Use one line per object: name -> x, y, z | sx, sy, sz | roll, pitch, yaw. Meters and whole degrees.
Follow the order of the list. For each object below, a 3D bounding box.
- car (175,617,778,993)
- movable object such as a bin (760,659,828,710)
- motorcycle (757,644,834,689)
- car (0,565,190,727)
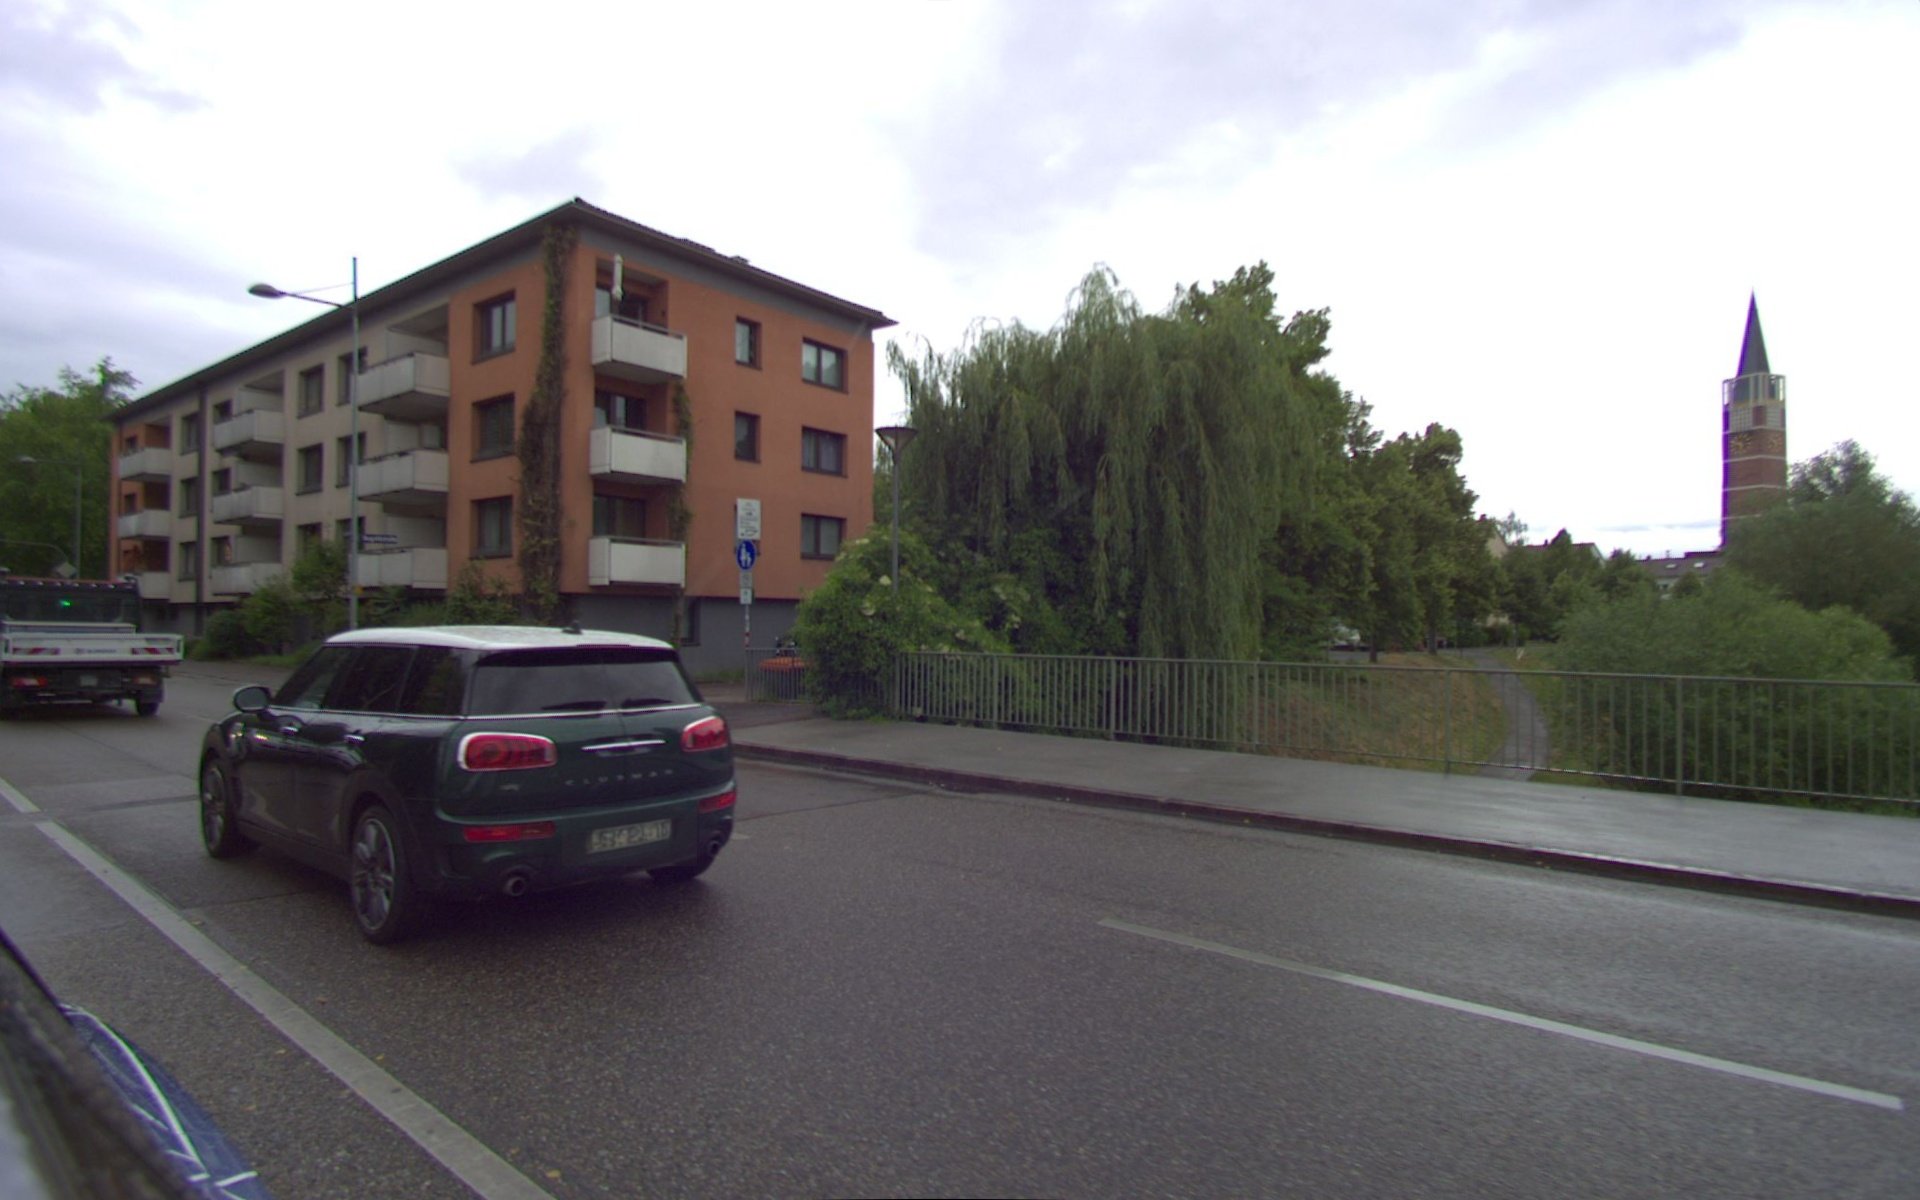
car -> -3.013, 0.846, 5.912 | 3.998, 1.450, 1.727 | -1, -2, 41
movable object such as a bin -> -3.133, 1.575, 19.104 | 0.832, 0.883, 0.956 | -1, -2, 41
motorcycle -> -4.776, 1.917, 29.528 | 0.780, 1.273, 2.371 | -3, -4, 36
car -> -15.592, 0.787, 17.475 | 6.504, 2.326, 2.266 | -2, -4, 41
